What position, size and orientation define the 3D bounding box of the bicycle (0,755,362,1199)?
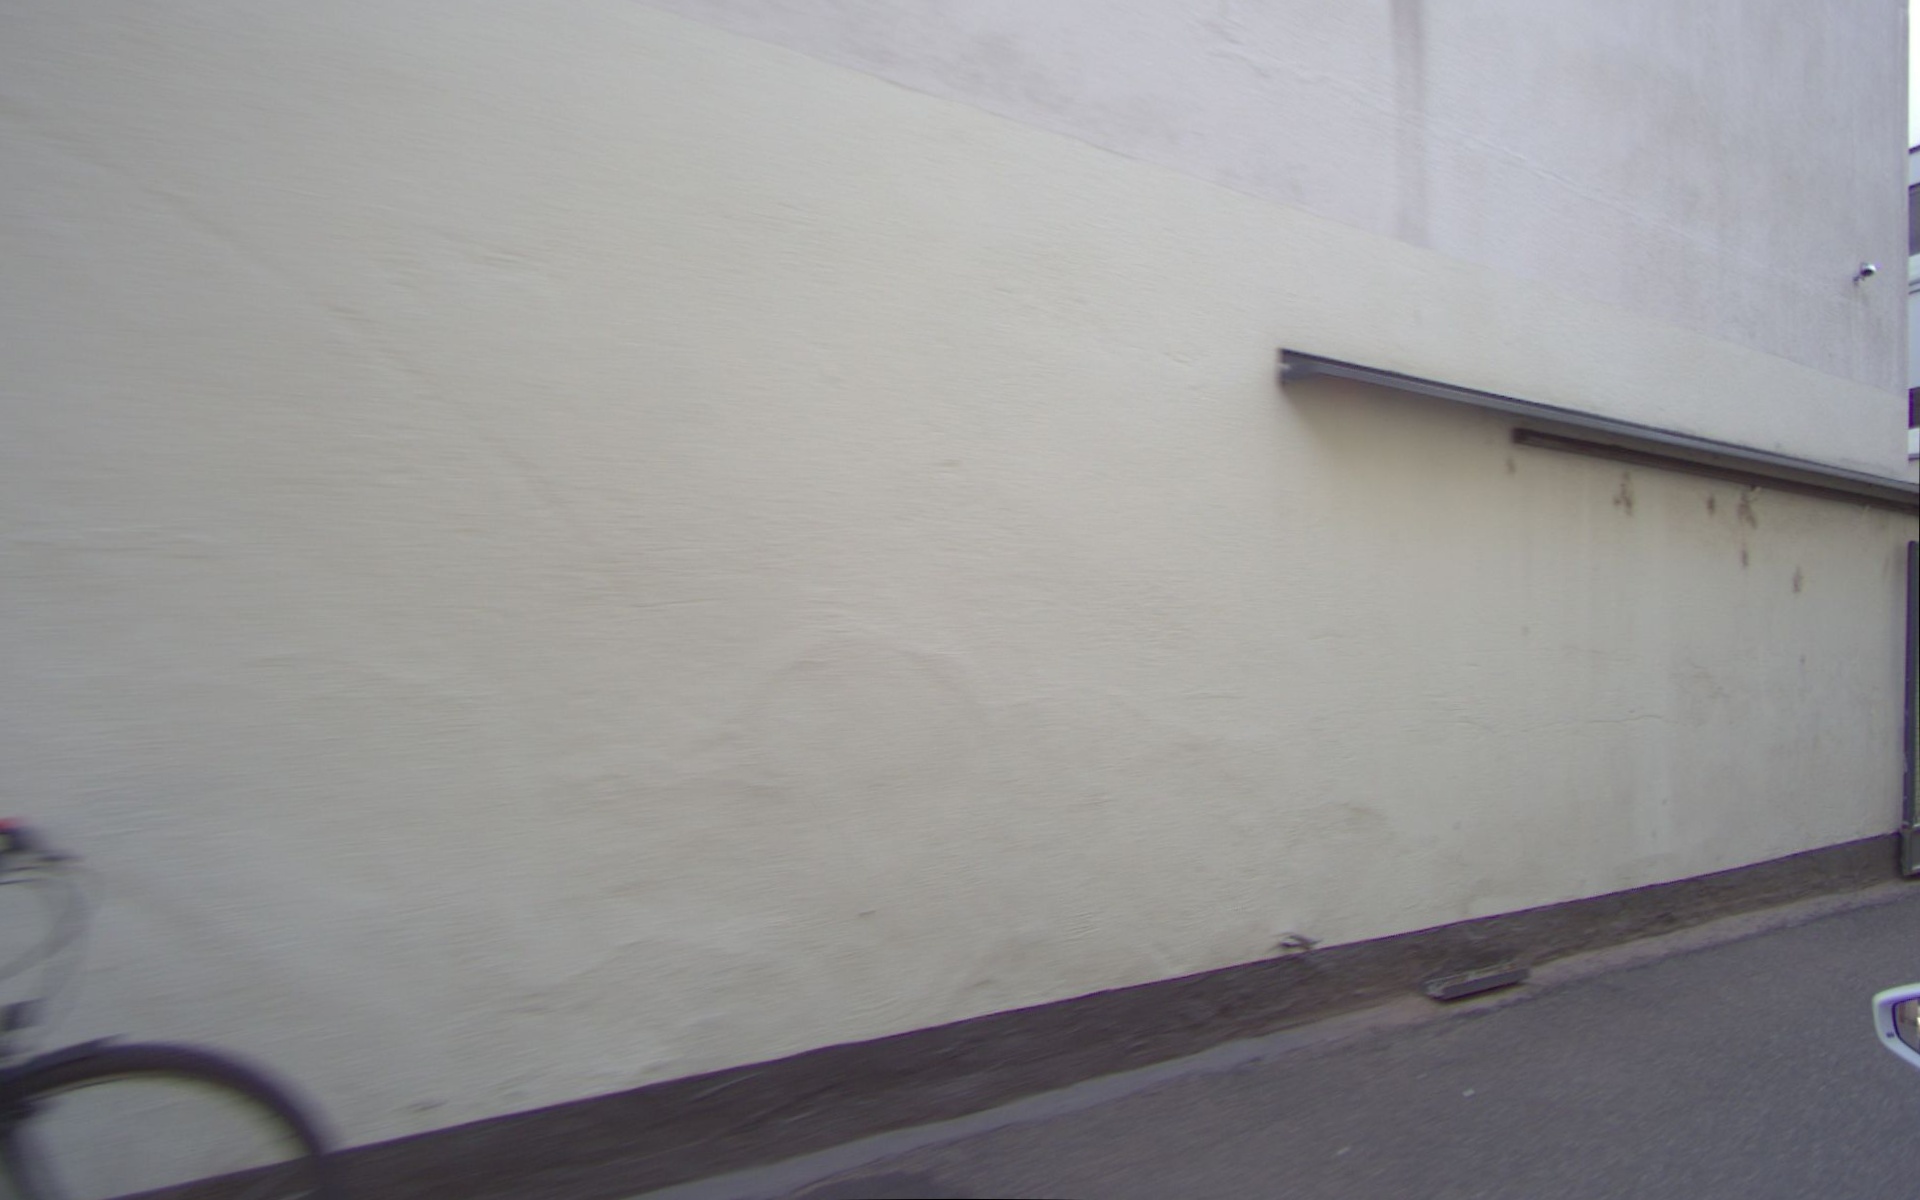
[{"bbox_3d":[-1.875,0.848,1.407,1.734,1.093,0.592,1,-1,-29],"label":"bicycle"}]
